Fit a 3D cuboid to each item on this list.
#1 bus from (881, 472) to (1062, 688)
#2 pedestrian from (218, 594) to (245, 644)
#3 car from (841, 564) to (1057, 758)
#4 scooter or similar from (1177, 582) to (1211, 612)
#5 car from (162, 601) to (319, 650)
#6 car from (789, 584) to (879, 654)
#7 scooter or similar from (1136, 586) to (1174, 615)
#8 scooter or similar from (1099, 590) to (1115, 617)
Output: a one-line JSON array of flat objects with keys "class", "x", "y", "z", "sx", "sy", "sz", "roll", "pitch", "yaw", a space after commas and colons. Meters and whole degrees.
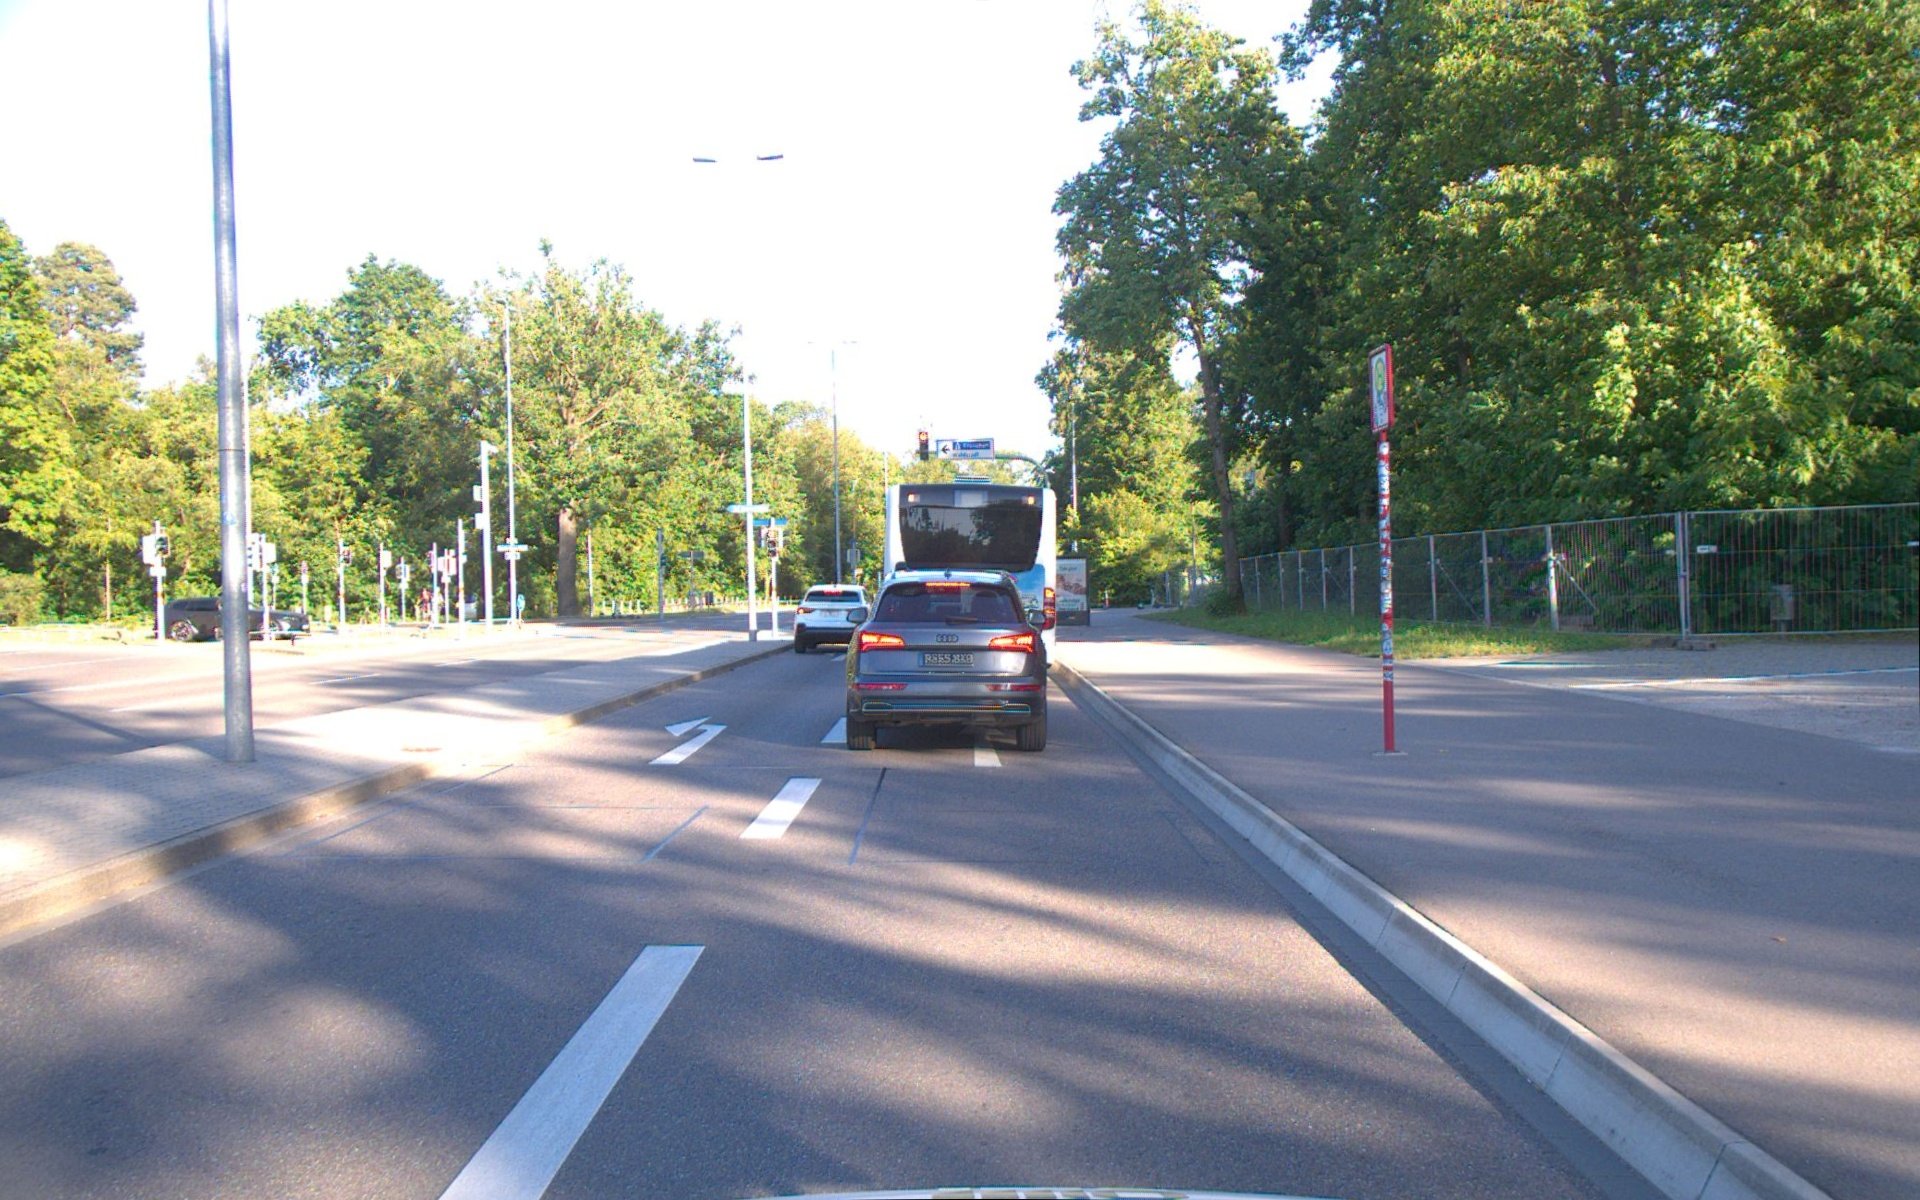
[{"class": "bus", "x": 0.152, "y": -0.270, "z": 27.948, "sx": 2.541, "sy": 3.041, "sz": 9.326, "roll": 0, "pitch": 0, "yaw": 0}, {"class": "pedestrian", "x": -23.644, "y": 0.625, "z": 53.695, "sx": 0.643, "sy": 1.587, "sz": 0.531, "roll": -2, "pitch": 0, "yaw": -42}, {"class": "car", "x": -0.101, "y": 0.511, "z": 16.288, "sx": 1.860, "sy": 1.660, "sz": 4.000, "roll": 0, "pitch": 0, "yaw": 0}, {"class": "scooter or similar", "x": 12.864, "y": -0.165, "z": 91.006, "sx": 0.535, "sy": 1.594, "sz": 1.994, "roll": -2, "pitch": 0, "yaw": -39}, {"class": "car", "x": -25.014, "y": 0.866, "z": 57.647, "sx": 4.693, "sy": 1.524, "sz": 1.992, "roll": -2, "pitch": 0, "yaw": -15}, {"class": "car", "x": -2.921, "y": 0.414, "z": 39.041, "sx": 1.799, "sy": 1.545, "sz": 4.000, "roll": -1, "pitch": 0, "yaw": 0}, {"class": "scooter or similar", "x": 10.578, "y": 0.022, "z": 89.713, "sx": 1.990, "sy": 1.469, "sz": 0.601, "roll": -2, "pitch": 0, "yaw": -25}, {"class": "scooter or similar", "x": 8.183, "y": 0.203, "z": 92.238, "sx": 0.498, "sy": 1.469, "sz": 2.020, "roll": -2, "pitch": 0, "yaw": -5}]
